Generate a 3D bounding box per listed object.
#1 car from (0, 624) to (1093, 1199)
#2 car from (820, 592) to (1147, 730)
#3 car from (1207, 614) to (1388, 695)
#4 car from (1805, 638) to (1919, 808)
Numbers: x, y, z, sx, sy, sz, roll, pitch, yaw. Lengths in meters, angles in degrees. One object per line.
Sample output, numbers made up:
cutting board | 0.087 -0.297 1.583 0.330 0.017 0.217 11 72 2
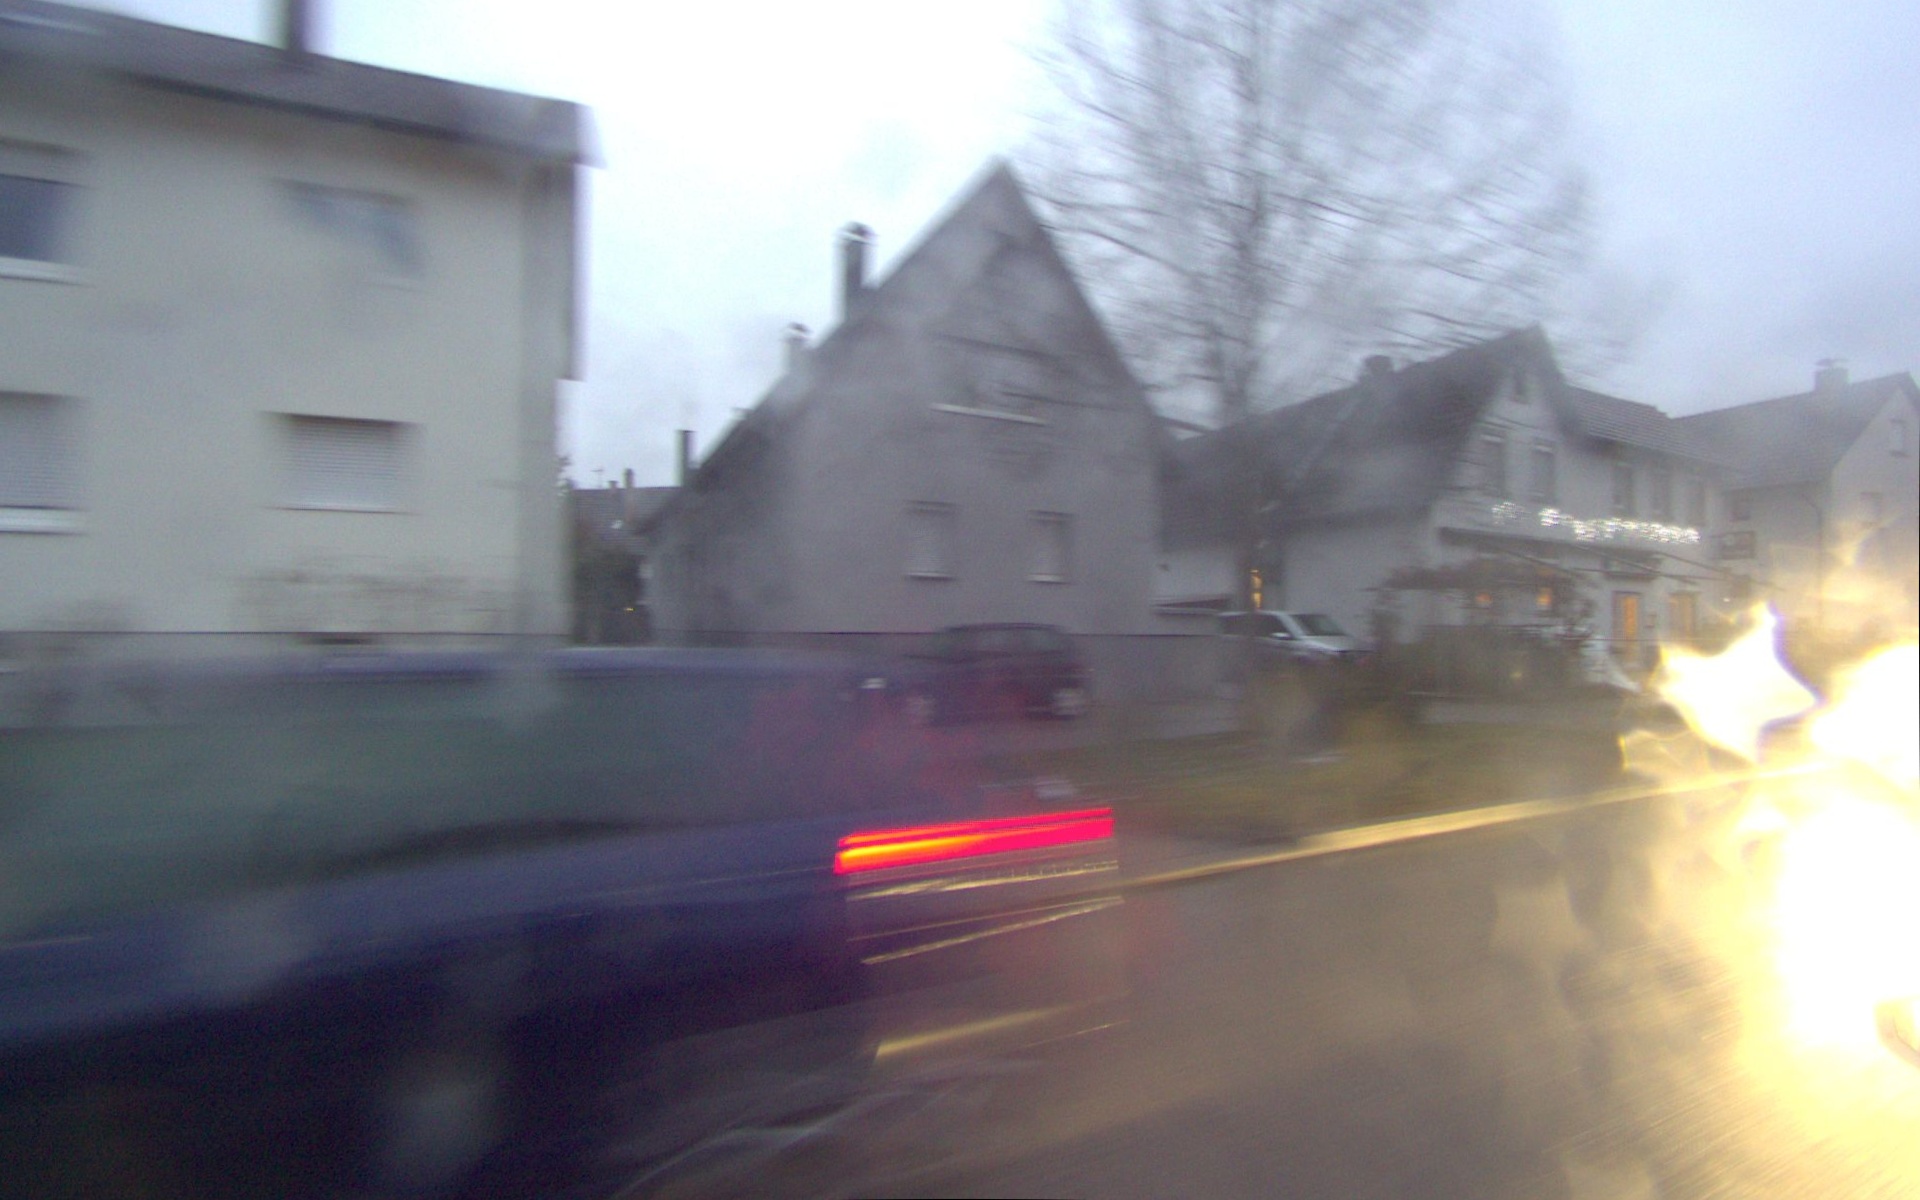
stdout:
car | -1.753 0.816 2.527 3.954 1.460 1.696 1 -3 -31
car | 0.389 0.863 14.987 4.511 1.779 1.986 1 -2 -29
car | 8.326 1.317 25.277 1.883 1.823 4.545 1 -2 -21
car | 10.187 1.107 9.731 4.373 1.460 1.696 1 -3 -31
